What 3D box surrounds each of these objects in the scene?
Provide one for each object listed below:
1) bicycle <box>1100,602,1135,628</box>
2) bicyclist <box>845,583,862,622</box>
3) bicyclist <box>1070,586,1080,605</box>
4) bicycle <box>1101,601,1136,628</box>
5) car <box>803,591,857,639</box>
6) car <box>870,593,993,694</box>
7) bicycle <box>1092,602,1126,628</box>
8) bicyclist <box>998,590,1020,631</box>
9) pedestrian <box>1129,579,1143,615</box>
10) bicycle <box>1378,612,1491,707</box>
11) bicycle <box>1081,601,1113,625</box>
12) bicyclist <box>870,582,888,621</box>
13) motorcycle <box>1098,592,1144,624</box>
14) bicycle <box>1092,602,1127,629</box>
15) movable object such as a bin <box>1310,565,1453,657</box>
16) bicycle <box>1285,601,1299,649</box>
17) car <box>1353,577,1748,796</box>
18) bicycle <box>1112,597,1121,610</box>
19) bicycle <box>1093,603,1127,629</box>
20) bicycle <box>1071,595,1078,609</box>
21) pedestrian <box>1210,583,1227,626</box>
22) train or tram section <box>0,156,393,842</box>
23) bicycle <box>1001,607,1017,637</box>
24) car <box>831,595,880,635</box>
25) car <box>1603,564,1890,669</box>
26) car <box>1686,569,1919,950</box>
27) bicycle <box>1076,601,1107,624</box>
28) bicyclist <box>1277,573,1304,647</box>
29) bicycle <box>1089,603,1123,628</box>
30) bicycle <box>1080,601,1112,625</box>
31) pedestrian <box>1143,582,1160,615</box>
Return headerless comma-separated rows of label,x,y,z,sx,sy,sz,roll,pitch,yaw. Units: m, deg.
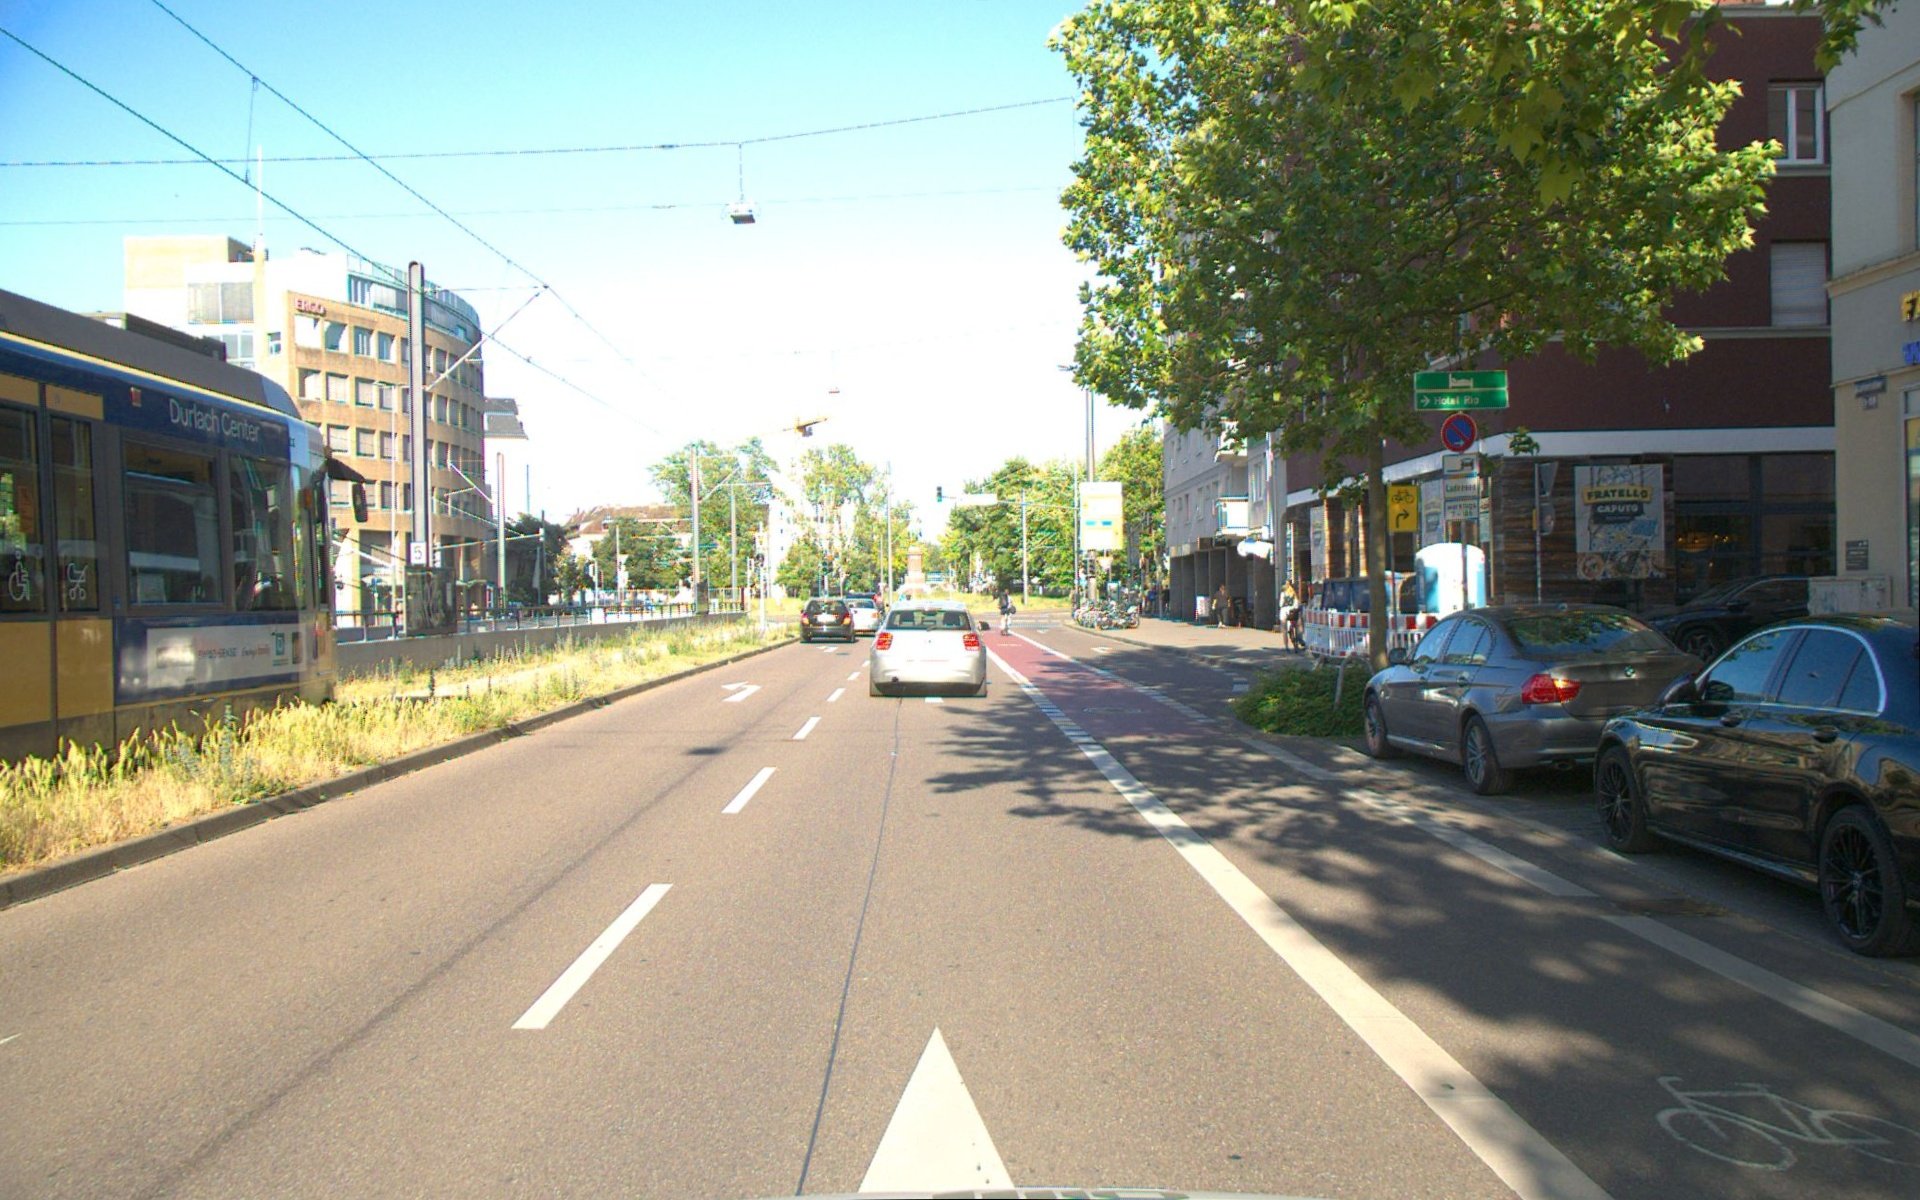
bicycle,6.642,0.632,69.632,1.435,1.086,0.257,-1,-1,1
bicyclist,-4.351,0.096,67.819,0.604,1.599,0.686,1,0,0
bicyclist,8.480,-0.351,121.924,0.604,1.404,0.686,1,0,0
bicycle,6.640,0.616,69.261,1.435,1.086,0.257,-1,-1,1
car,-4.215,0.466,54.224,1.692,1.496,4.407,0,0,-3
car,-0.469,0.615,25.678,1.762,1.439,3.999,0,0,-2
bicycle,6.493,0.664,72.079,1.435,1.086,0.257,-1,-1,1
bicyclist,1.868,0.401,62.913,0.769,1.558,0.895,1,0,-1
pedestrian,10.008,-0.162,93.927,0.774,2.049,0.870,1,0,6
bicycle,6.278,0.759,22.004,0.569,1.183,2.233,1,0,-8
bicycle,6.365,0.598,76.784,1.435,1.086,0.257,-1,-1,1
bicyclist,-3.339,0.055,68.073,0.606,1.599,0.684,0,0,-13
motorcycle,6.595,0.322,67.721,1.816,1.323,0.652,0,0,2
bicycle,6.405,0.667,70.860,1.435,1.086,0.257,-1,-1,1
movable object such as a bin,9.121,0.193,36.074,1.908,1.875,3.475,-1,1,-7
bicycle,7.828,0.577,38.982,0.311,1.104,1.686,-1,0,11
car,4.816,0.624,14.222,1.753,1.582,4.434,0,0,-1
bicycle,11.697,0.261,123.333,0.408,1.026,1.944,1,0,-2
bicycle,6.500,0.684,71.706,1.435,1.086,0.257,-1,-1,1
bicycle,8.433,0.159,121.842,0.344,0.975,1.573,1,0,0
pedestrian,9.843,0.180,62.982,0.561,1.610,0.556,0,0,1
train or tram section,-7.056,-0.600,11.219,2.893,3.965,10.799,1,0,-2
bicycle,1.846,0.818,62.911,0.489,1.107,1.996,1,0,-1
car,-3.906,0.541,62.344,1.611,1.446,3.999,1,0,-1
car,14.079,0.313,29.784,4.212,1.819,1.994,0,-2,-1
car,4.865,0.639,6.441,1.997,1.535,4.593,0,0,-1
bicycle,6.326,0.608,79.658,1.435,1.086,0.257,-1,-1,1
bicyclist,7.798,0.234,39.007,0.588,1.719,0.598,-1,0,9
bicycle,6.430,0.673,72.746,1.435,1.086,0.257,-1,-1,1
bicycle,6.348,0.589,77.110,1.435,1.086,0.257,-1,-1,1
pedestrian,11.007,-0.089,95.099,0.808,1.888,0.917,1,0,13
